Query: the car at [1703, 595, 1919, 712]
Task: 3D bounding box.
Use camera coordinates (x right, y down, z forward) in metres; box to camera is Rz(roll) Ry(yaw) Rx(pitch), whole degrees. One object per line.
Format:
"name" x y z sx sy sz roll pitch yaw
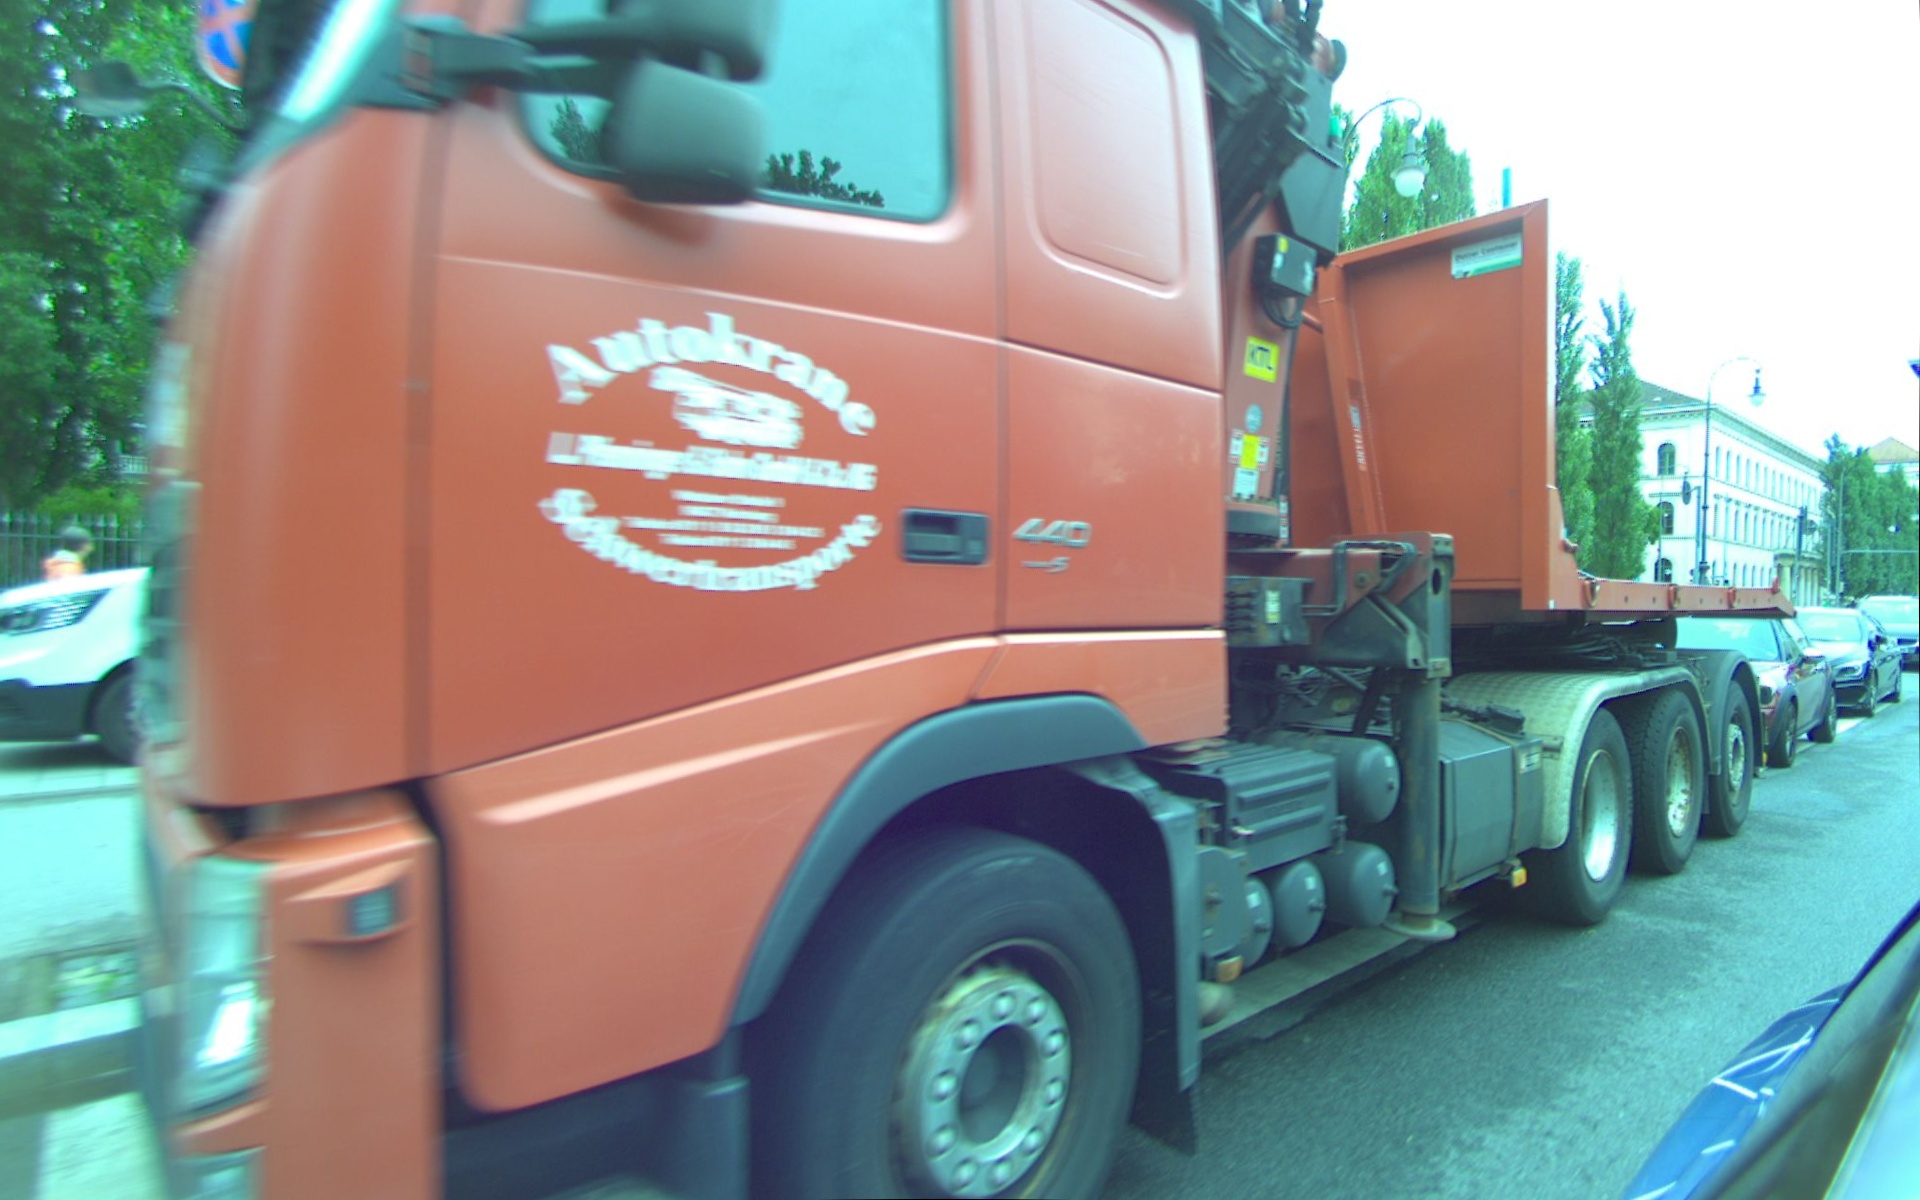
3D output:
"car" 12.487 0.670 14.715 4.362 1.409 1.845 0 1 -42

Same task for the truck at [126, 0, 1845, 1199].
"truck" 2.099 -0.460 5.476 10.101 3.609 2.849 0 0 -42

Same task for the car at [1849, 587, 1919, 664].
"car" 22.070 0.563 23.522 1.843 1.627 4.298 2 1 45

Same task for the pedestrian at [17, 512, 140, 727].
"pedestrian" -7.465 0.151 8.589 0.742 1.715 0.718 1 0 -41

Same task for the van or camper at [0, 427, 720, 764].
"van or camper" -4.715 -0.023 8.518 4.901 2.039 2.006 0 0 -42

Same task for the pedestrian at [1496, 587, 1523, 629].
"pedestrian" 24.224 0.337 44.605 0.869 1.794 0.811 1 1 -43

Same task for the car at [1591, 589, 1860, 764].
"car" 8.073 0.662 10.565 3.590 1.487 1.563 0 1 -42
